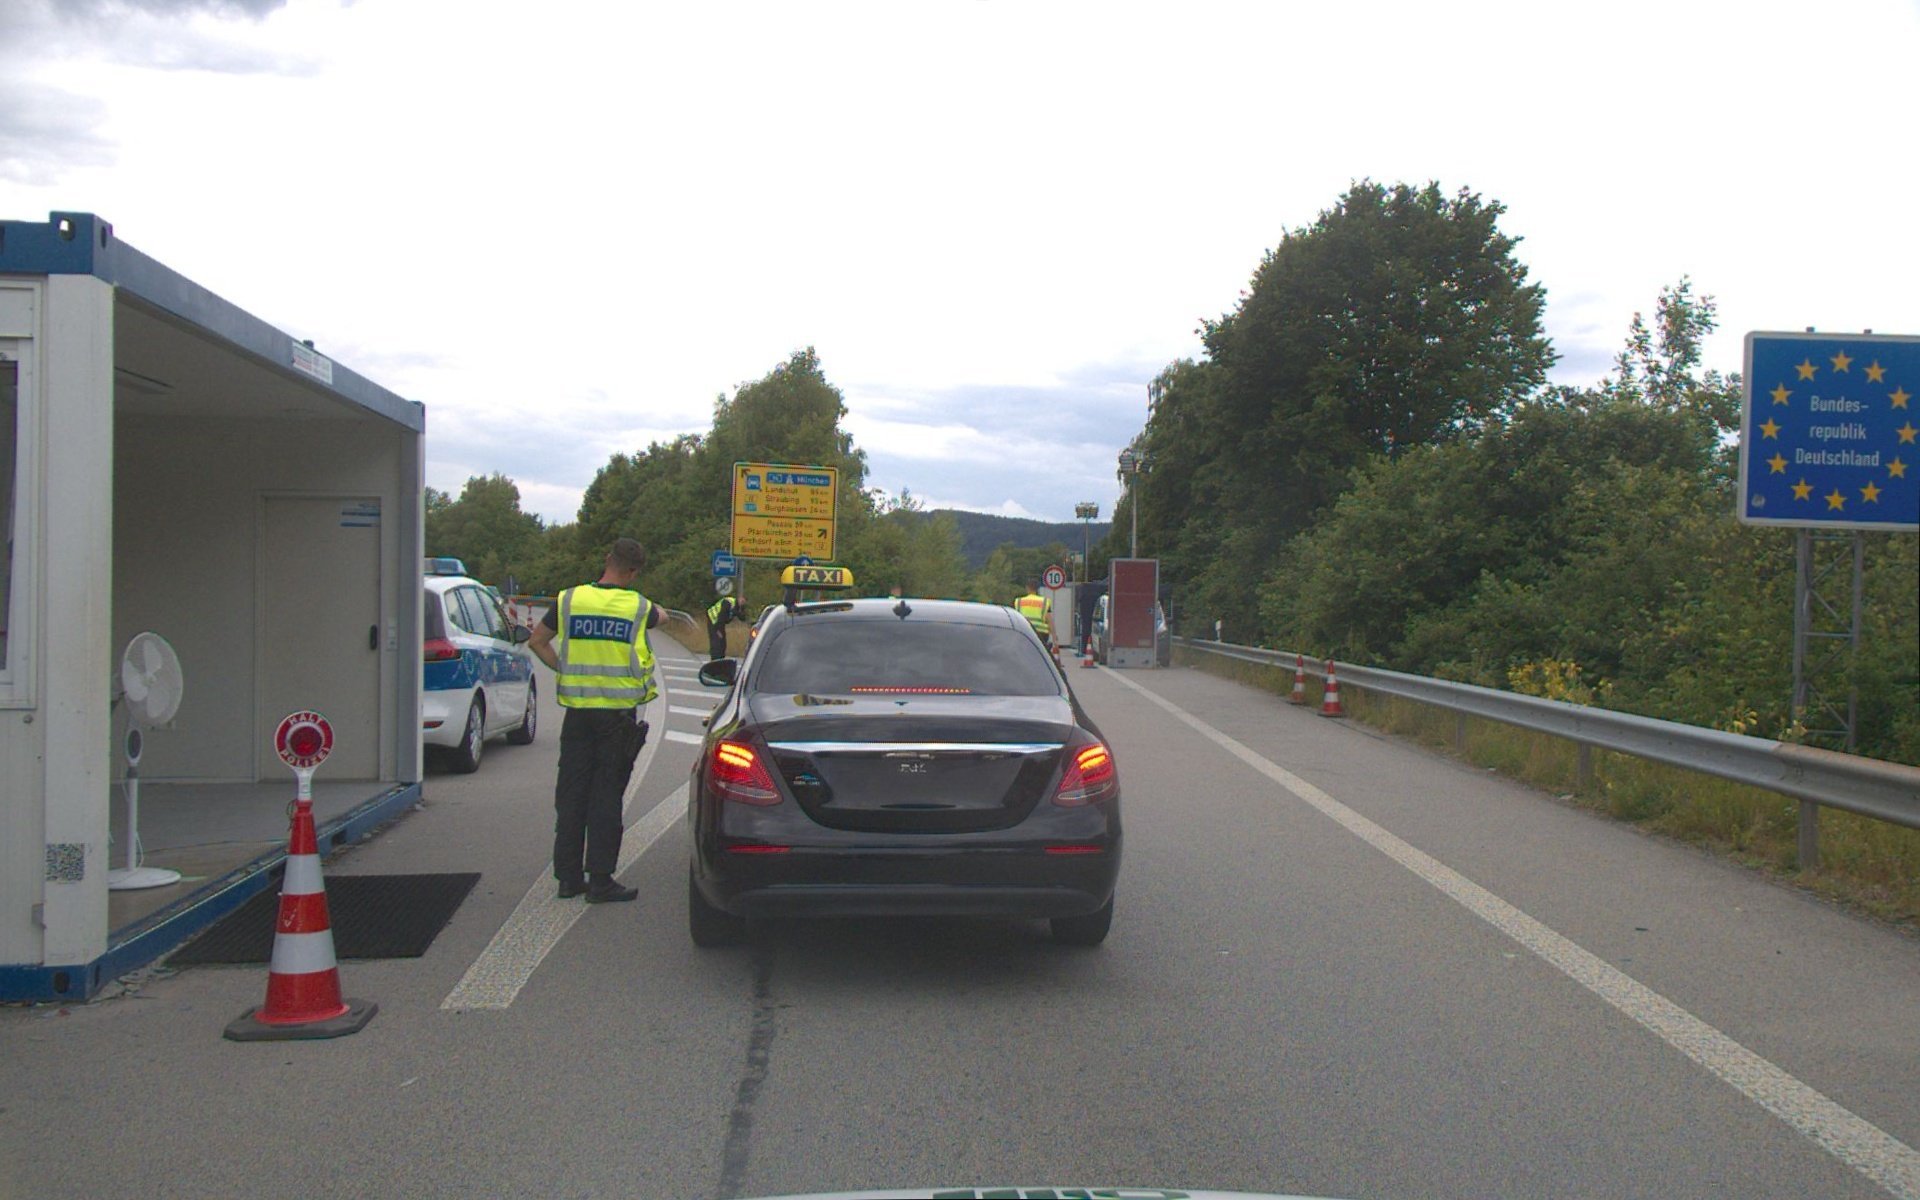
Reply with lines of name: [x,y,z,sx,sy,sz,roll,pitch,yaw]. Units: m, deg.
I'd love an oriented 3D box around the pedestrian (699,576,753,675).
pedestrian: [-4.338,0.473,30.687,0.893,1.800,0.911,1,0,-4]

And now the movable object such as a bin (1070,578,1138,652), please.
movable object such as a bin: [4.714,0.483,54.687,1.952,2.320,4.168,1,0,1]

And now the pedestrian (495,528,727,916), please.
pedestrian: [-1.682,0.549,8.010,0.747,1.748,0.815,0,0,36]

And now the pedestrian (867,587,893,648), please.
pedestrian: [-2.617,0.564,54.077,0.650,1.995,0.760,0,0,15]

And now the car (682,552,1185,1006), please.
car: [-0.283,0.644,8.188,1.819,1.623,4.370,1,0,-5]

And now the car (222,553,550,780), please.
car: [-4.992,0.523,14.984,1.832,1.774,4.004,1,0,-5]

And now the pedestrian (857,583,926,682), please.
pedestrian: [-1.228,0.575,29.626,0.900,1.727,0.903,1,-1,-32]

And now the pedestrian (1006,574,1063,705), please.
pedestrian: [1.084,0.564,23.954,0.795,1.862,0.810,0,0,5]

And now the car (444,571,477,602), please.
car: [-37.204,-1.011,123.078,1.831,2.261,4.224,1,0,-24]

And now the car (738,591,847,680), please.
car: [-3.038,0.606,30.714,1.818,1.524,4.253,1,0,-4]

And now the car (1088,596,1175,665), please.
car: [4.684,0.796,45.843,1.877,1.707,5.083,2,0,1]

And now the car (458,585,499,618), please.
car: [-22.798,0.049,78.309,1.825,1.524,4.237,1,0,-16]

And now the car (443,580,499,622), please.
car: [-18.605,0.040,63.078,1.824,1.524,4.242,1,0,-14]
